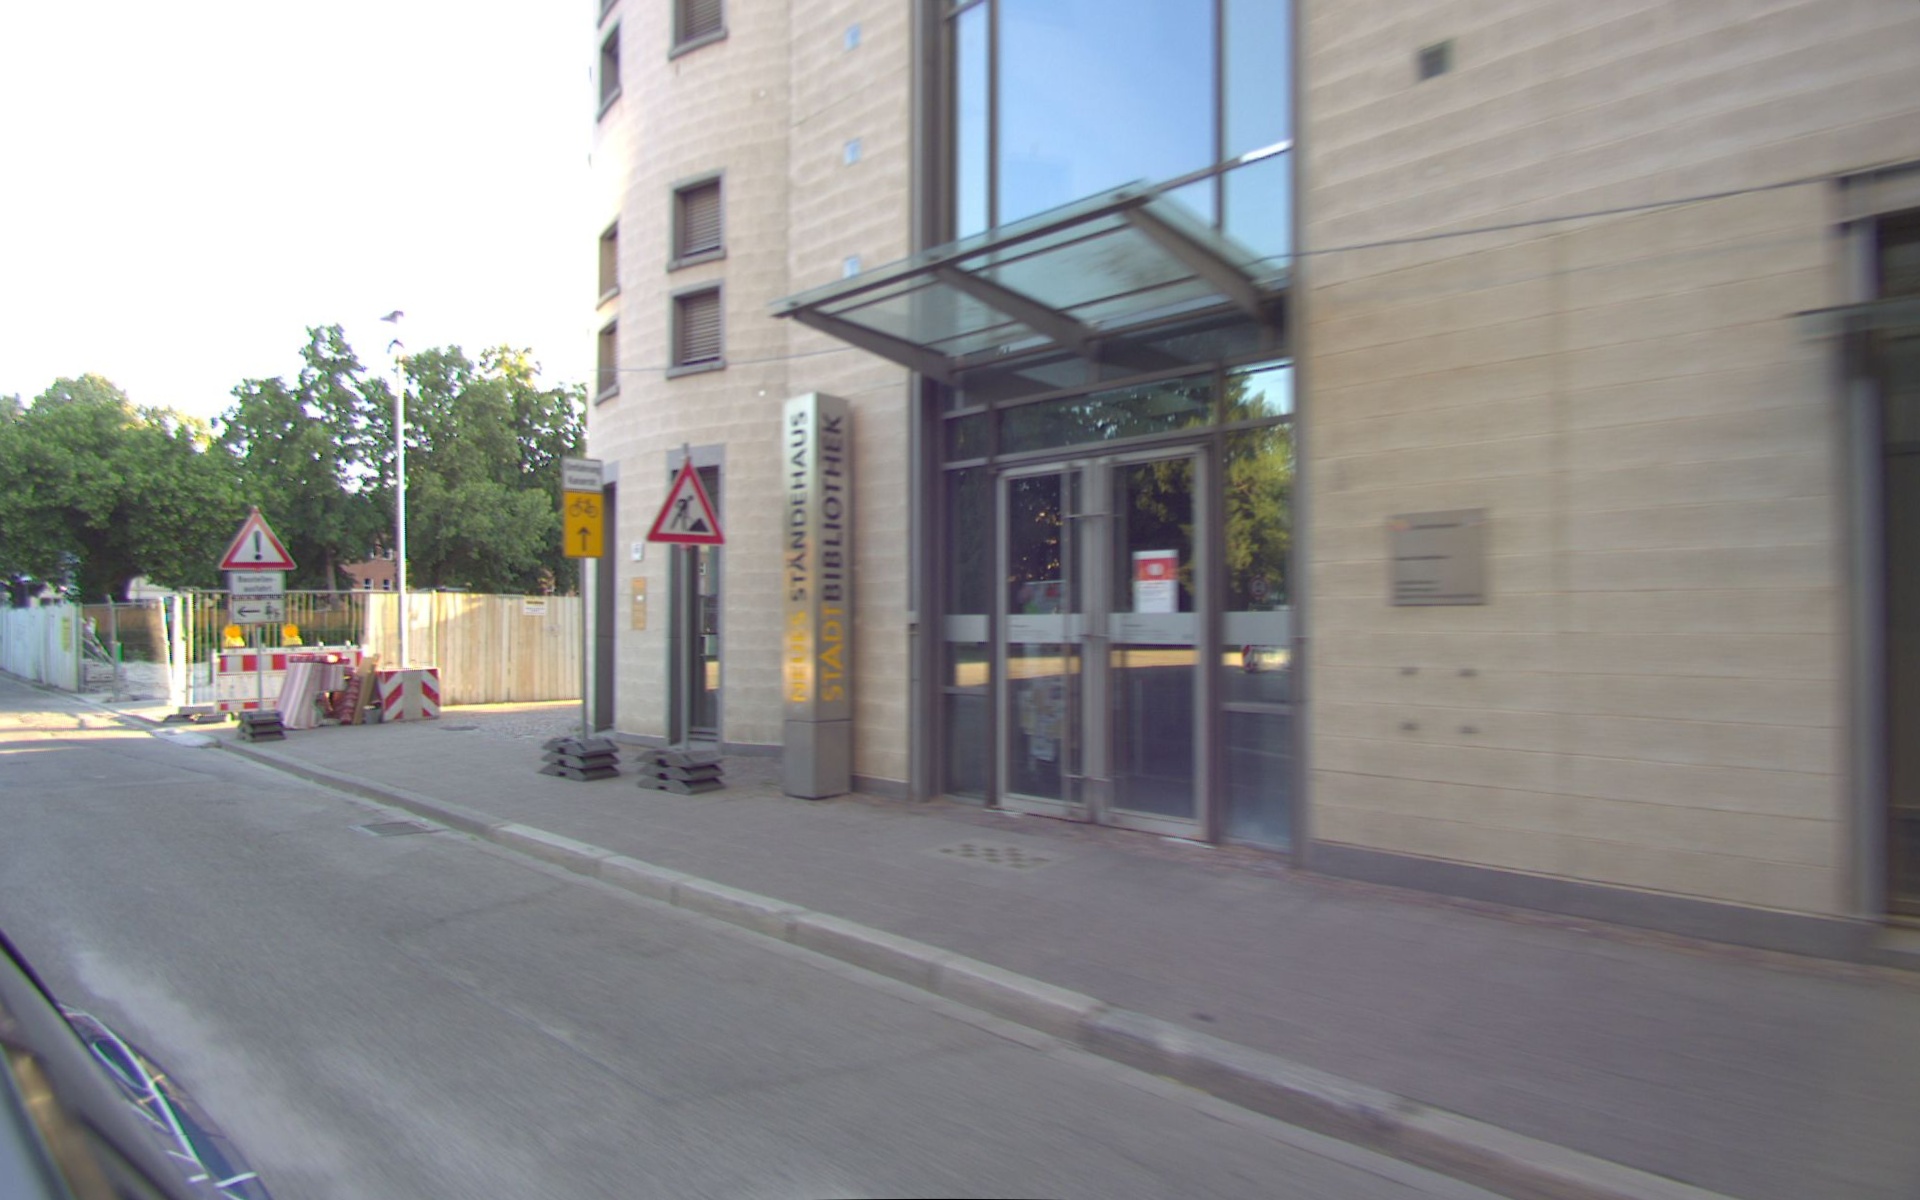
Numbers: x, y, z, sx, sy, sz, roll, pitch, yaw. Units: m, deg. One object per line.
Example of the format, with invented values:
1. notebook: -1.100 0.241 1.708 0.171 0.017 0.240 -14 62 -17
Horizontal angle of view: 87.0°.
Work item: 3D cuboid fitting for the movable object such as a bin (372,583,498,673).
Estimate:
1. movable object such as a bin: -16.034 0.849 30.989 2.727 2.623 2.145 -1 -2 20
